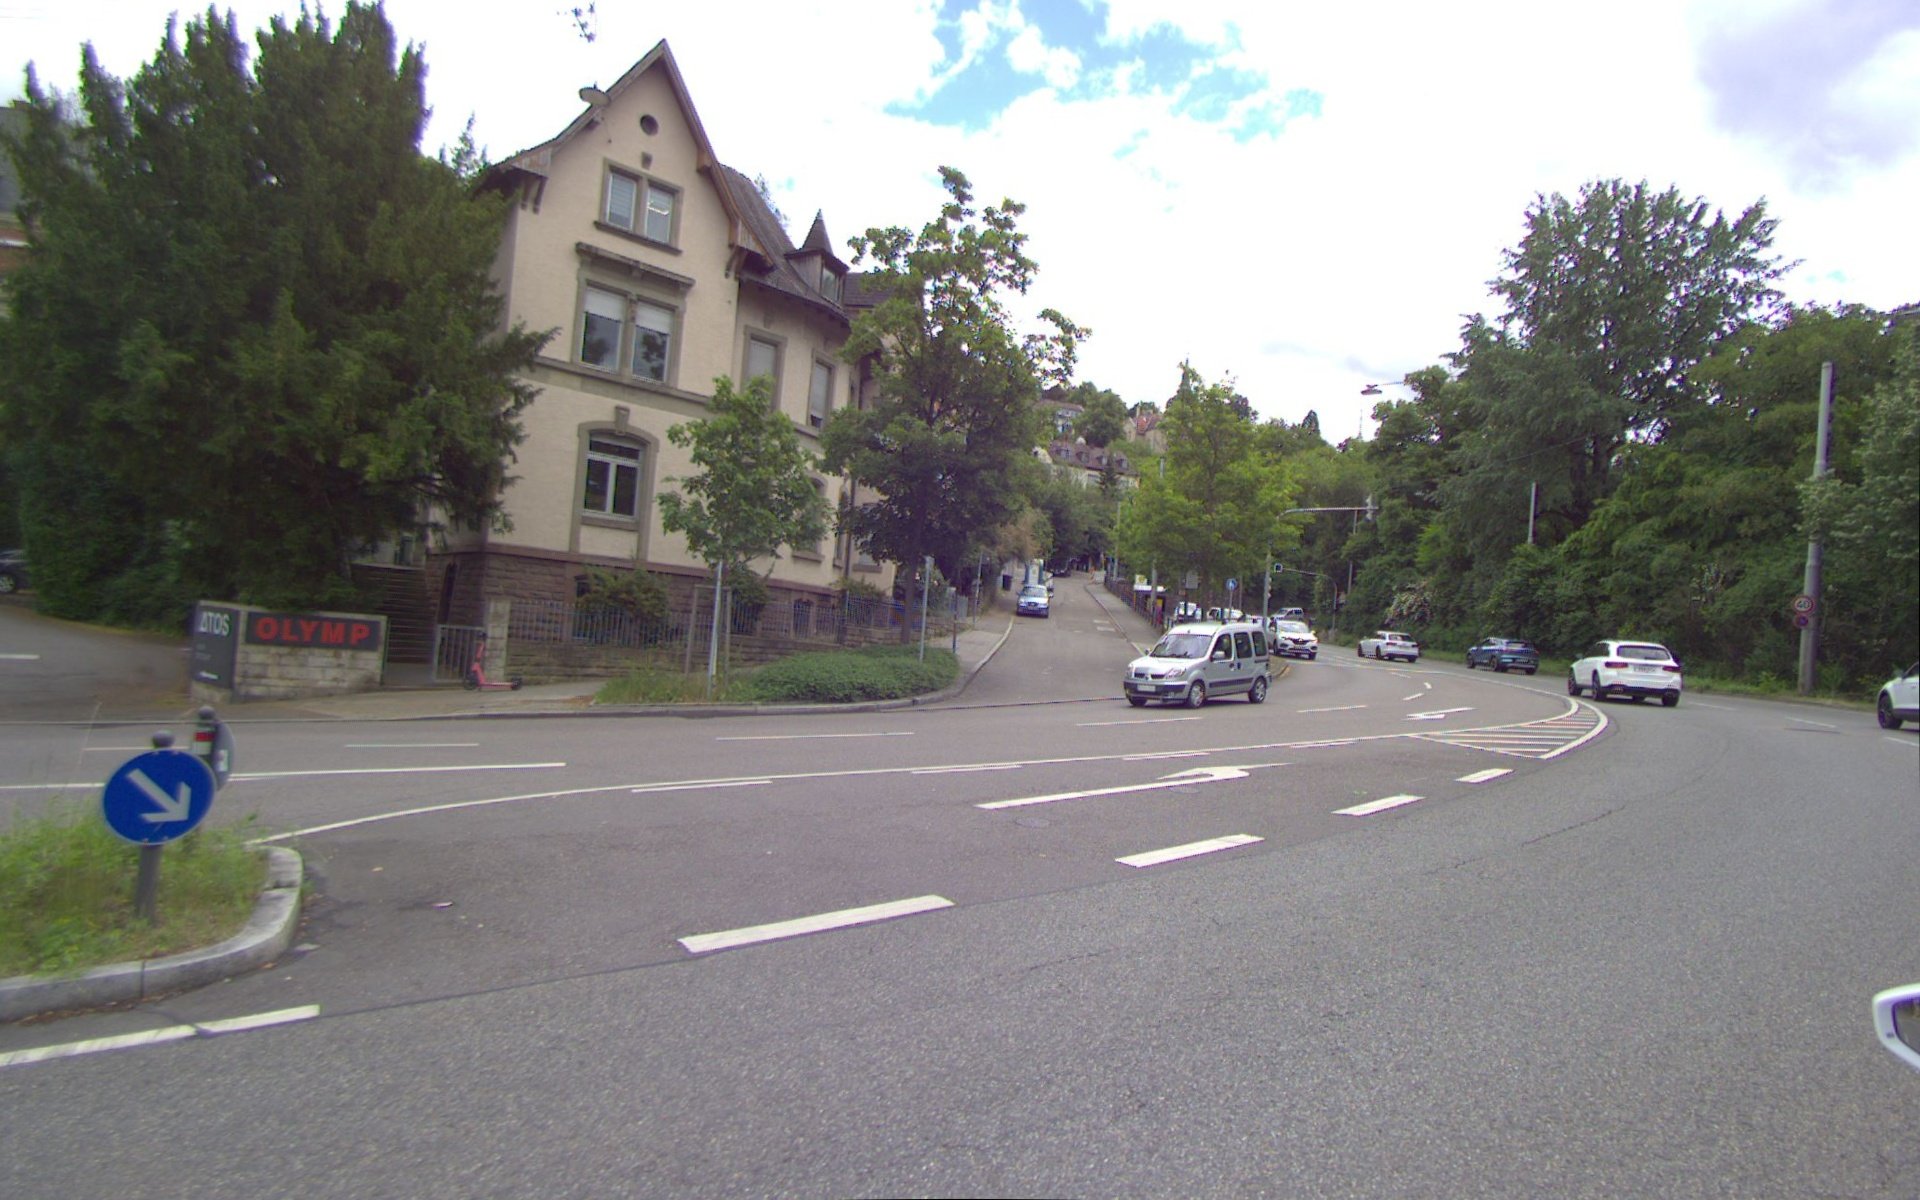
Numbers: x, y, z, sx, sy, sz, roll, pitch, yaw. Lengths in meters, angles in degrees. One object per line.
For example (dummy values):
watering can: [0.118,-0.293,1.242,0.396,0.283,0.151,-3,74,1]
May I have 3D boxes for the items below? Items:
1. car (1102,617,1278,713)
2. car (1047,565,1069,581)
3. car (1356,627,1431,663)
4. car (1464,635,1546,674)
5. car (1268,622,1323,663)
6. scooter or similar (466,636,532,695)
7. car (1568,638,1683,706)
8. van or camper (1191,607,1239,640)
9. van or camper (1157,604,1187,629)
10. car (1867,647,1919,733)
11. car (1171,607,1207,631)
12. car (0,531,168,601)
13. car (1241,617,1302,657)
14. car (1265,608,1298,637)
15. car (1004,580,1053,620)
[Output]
car: [5.105,1.353,21.976,1.892,1.855,4.014,1,-1,45]
car: [9.717,-2.652,99.079,1.525,1.296,3.601,3,0,16]
car: [22.248,2.289,51.752,2.209,1.539,4.309,4,0,5]
car: [25.299,2.496,46.767,1.829,1.653,3.961,2,-1,4]
car: [14.814,1.840,44.576,1.863,1.676,4.378,1,-1,13]
scooter or similar: [-9.765,1.373,21.315,1.188,1.175,0.551,-1,0,-16]
car: [18.147,1.891,27.593,1.847,1.673,4.339,-1,-2,23]
van or camper: [16.793,1.486,66.437,1.960,1.920,5.459,5,0,4]
van or camper: [18.986,1.436,90.110,1.960,2.040,5.564,5,0,7]
car: [19.068,1.728,19.026,1.836,1.576,3.890,1,-1,27]
car: [16.925,1.390,74.470,1.960,1.540,3.992,6,0,5]
car: [-28.615,-1.061,32.694,3.933,2.040,1.994,2,-1,-15]
car: [15.424,1.808,50.008,1.863,1.815,4.761,2,-1,5]
car: [24.119,1.704,75.472,2.152,2.040,4.002,2,-1,16]
car: [3.433,-0.044,49.789,1.960,1.595,4.001,6,4,9]
